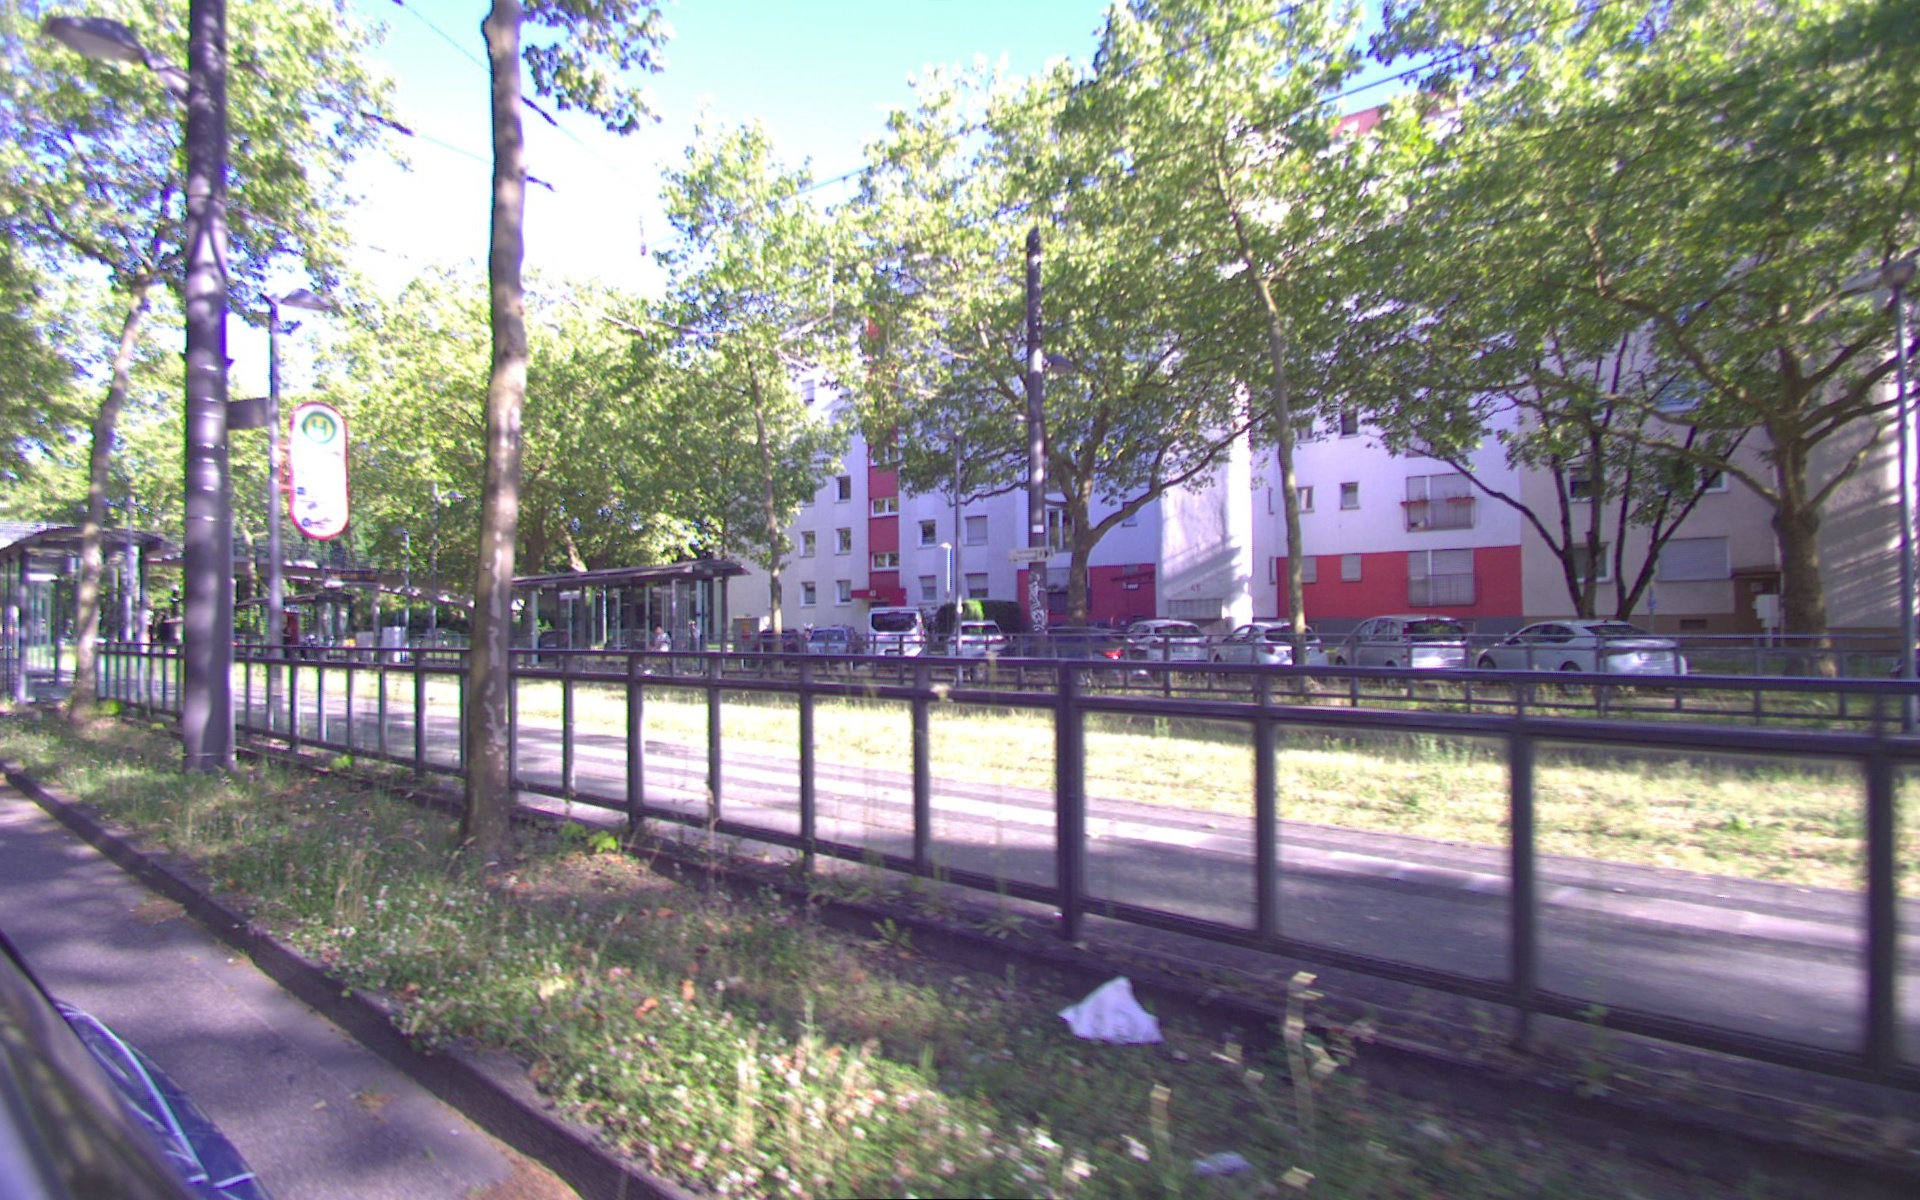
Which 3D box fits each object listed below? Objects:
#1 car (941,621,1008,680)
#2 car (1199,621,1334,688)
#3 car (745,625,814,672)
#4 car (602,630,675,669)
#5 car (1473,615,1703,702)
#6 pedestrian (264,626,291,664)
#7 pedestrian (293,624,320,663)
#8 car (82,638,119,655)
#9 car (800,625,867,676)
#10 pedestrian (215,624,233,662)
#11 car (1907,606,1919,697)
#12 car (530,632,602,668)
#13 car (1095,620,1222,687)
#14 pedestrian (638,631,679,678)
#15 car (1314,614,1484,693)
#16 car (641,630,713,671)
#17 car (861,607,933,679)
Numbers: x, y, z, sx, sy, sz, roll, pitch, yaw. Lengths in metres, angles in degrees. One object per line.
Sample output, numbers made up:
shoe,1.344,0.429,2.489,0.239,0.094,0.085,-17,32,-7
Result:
car,0.372,1.491,31.025,1.664,1.623,4.063,-2,-1,-4
car,7.474,1.284,25.115,1.551,1.443,4.067,-2,0,-8
car,-6.676,1.771,37.789,1.872,1.509,4.502,-2,-1,-2
car,-13.625,2.081,43.114,1.677,1.439,4.198,-2,-1,1
car,12.283,1.093,20.151,1.551,1.485,4.067,-2,-1,-8
pedestrian,-28.249,1.863,41.913,0.681,1.525,0.638,-1,-3,27
pedestrian,-27.313,1.815,42.310,0.714,1.647,0.722,-2,-3,38
car,-85.009,4.615,100.055,4.622,1.499,1.879,-2,2,39
car,-4.306,1.702,35.035,1.872,1.509,4.502,-2,-1,-2
pedestrian,-35.047,2.064,48.198,0.477,1.784,0.504,-1,-1,-1
car,17.492,0.806,15.512,1.620,1.556,4.183,-2,-1,-8
car,-18.526,2.324,47.770,1.677,1.439,4.198,-2,-1,1
car,5.167,1.346,26.980,1.870,1.515,4.508,-2,0,-8
pedestrian,-7.402,1.339,24.858,0.661,1.136,0.687,-2,-5,41
car,9.773,1.144,22.899,1.551,1.580,4.067,-1,-1,-8
car,-11.484,2.024,41.329,1.677,1.439,4.198,-2,-1,1
car,-1.956,1.317,32.606,1.874,2.079,4.498,-2,-1,1
